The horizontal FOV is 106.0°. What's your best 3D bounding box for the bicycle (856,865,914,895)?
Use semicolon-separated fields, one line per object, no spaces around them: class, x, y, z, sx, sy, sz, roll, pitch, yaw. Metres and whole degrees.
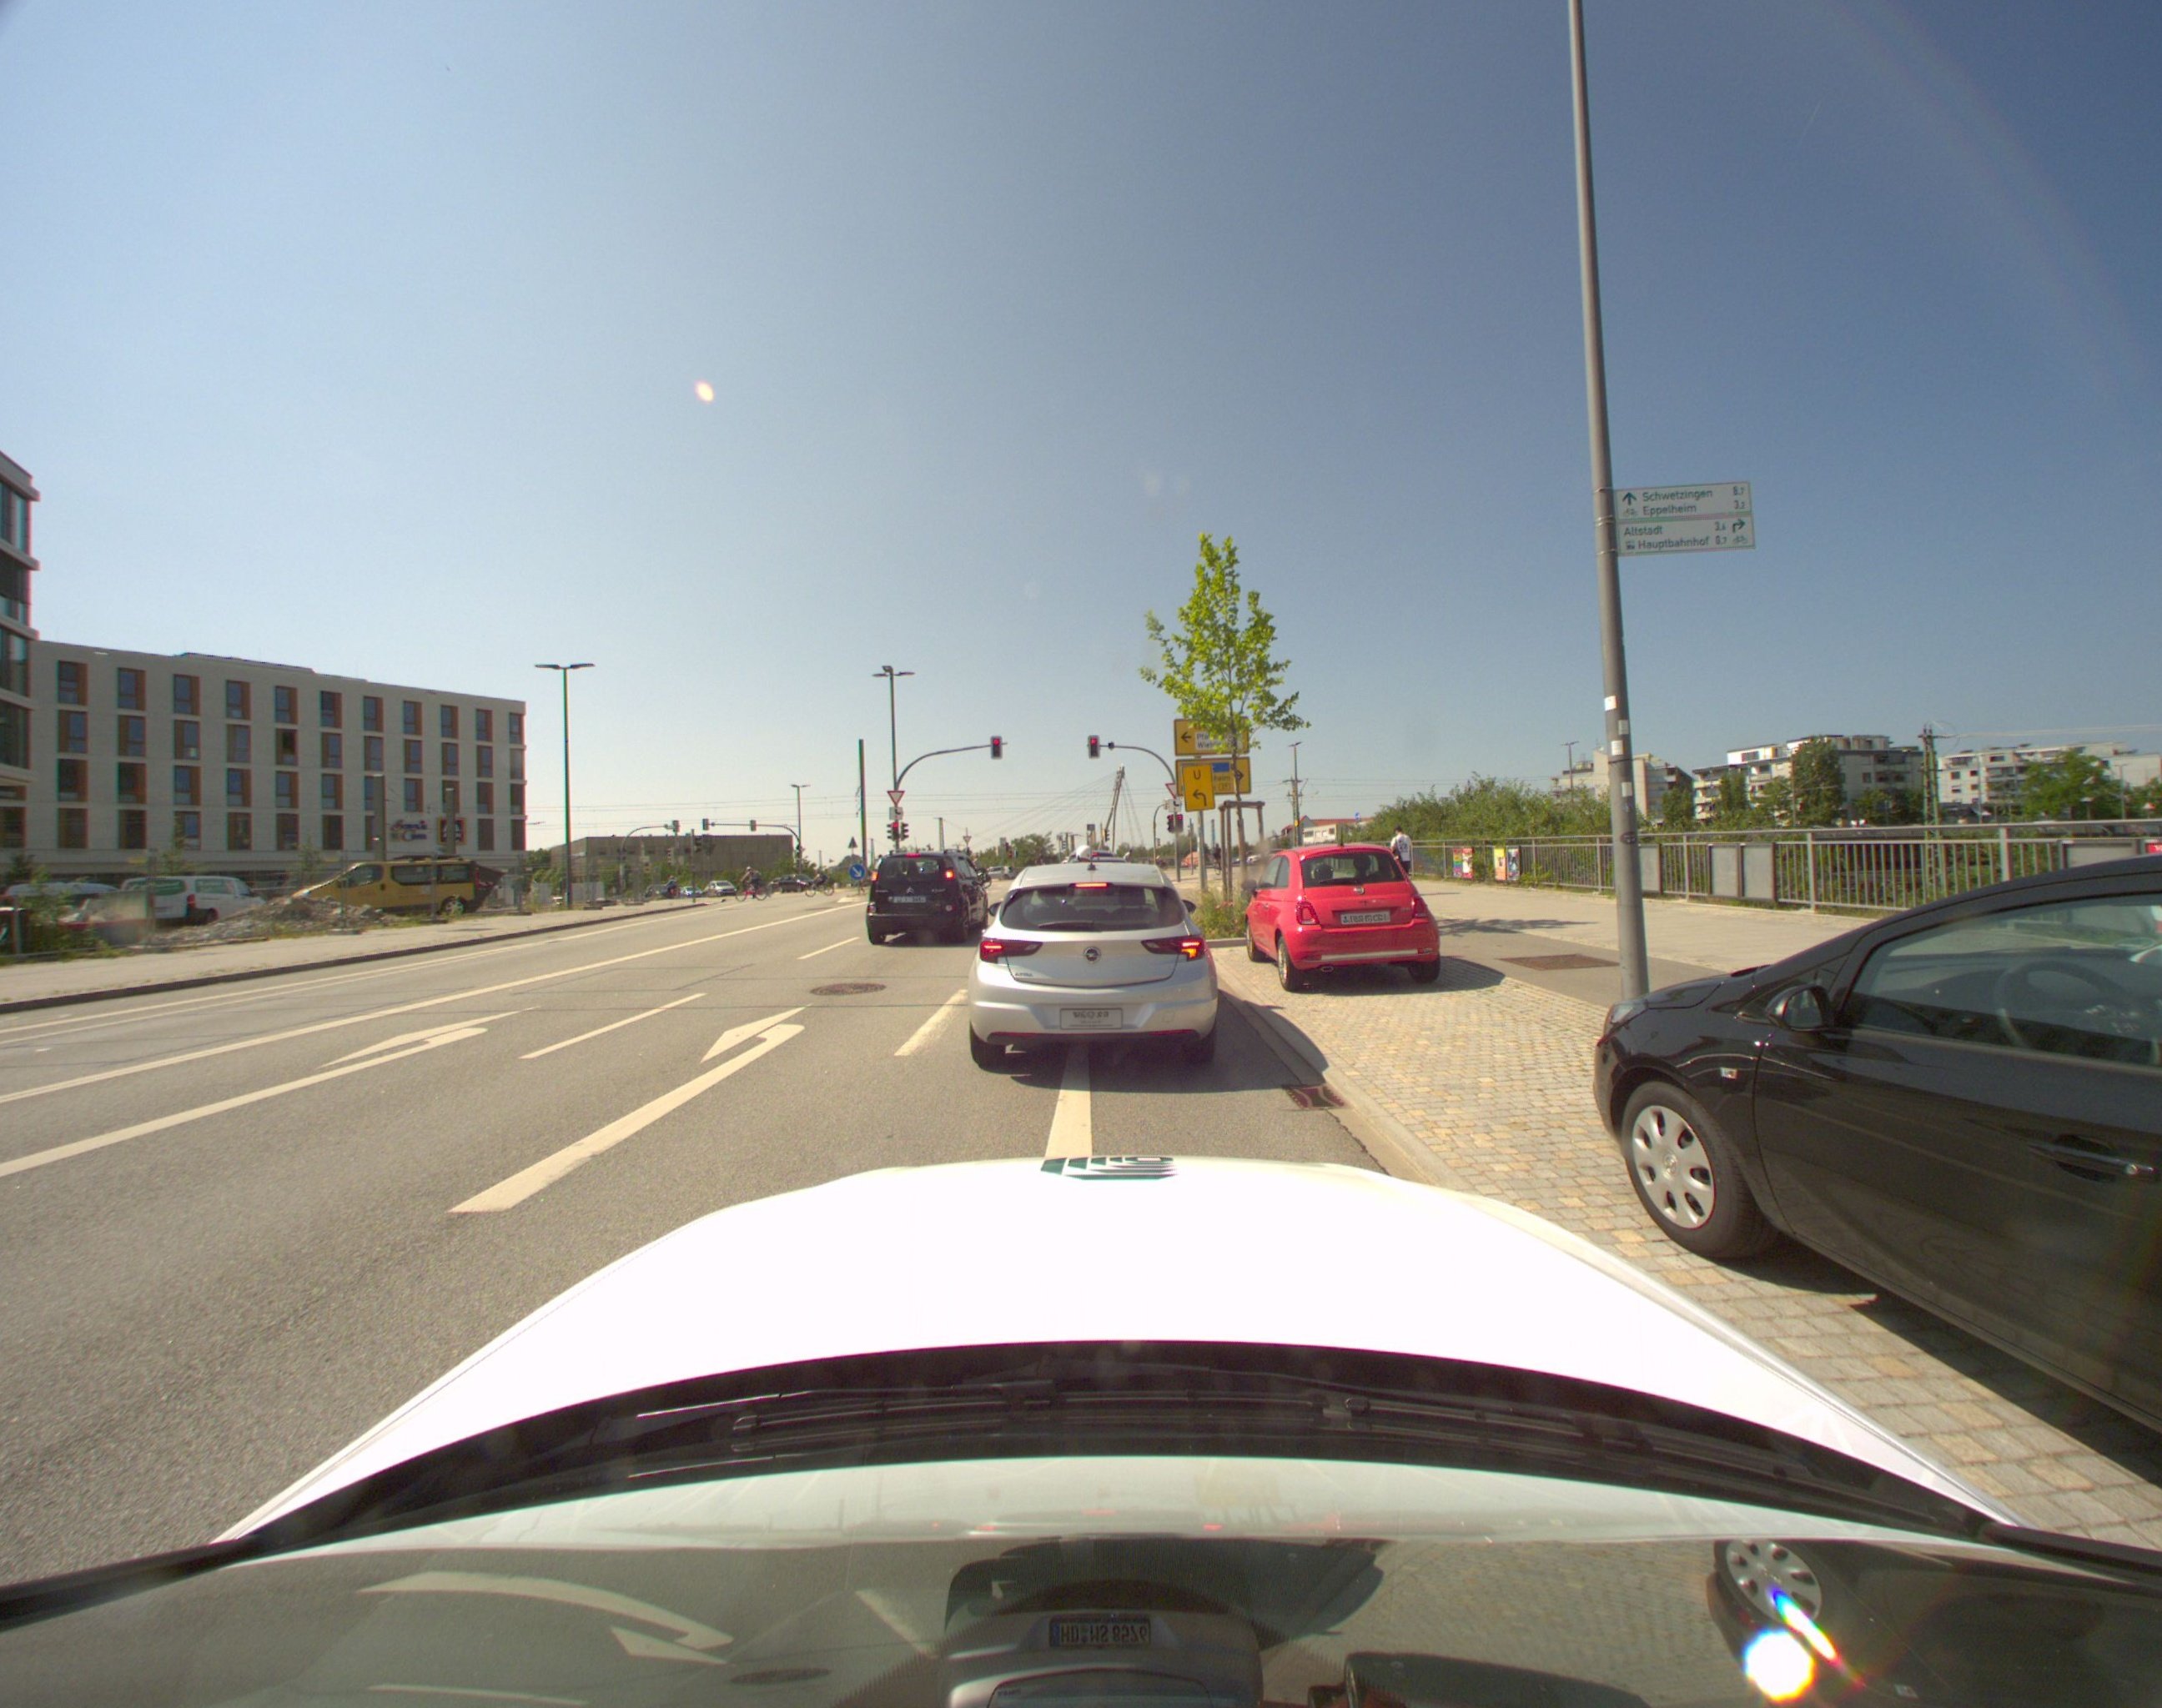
bicycle;-9.307;1.237;38.825;2.523;1.134;0.726;-6;2;-8

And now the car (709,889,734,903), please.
car;-33.116;3.850;74.930;2.453;1.240;1.287;-2;-1;44

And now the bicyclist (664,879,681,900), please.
bicyclist;-29.146;2.528;58.153;0.711;1.504;0.829;-1;-1;33

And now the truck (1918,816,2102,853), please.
truck;87.579;-1.760;76.749;17.857;3.204;3.723;0;-1;-14

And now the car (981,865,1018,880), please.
car;-7.663;1.759;76.872;3.193;1.304;1.527;-1;-1;8

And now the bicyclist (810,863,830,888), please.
bicyclist;-12.499;1.043;39.012;0.654;1.175;0.731;0;-1;3

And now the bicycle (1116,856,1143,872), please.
bicycle;3.402;0.714;57.184;1.862;1.068;0.577;0;-1;-3

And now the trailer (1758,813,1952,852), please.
trailer;68.008;-1.786;71.544;17.225;3.204;3.723;0;-1;-14

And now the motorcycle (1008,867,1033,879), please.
motorcycle;-6.368;2.024;85.436;2.528;1.233;0.648;0;-1;0

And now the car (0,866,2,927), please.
car;-36.259;1.391;24.998;2.220;2.056;4.133;0;-1;-28

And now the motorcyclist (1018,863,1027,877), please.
motorcyclist;-6.110;1.662;85.488;0.806;1.476;0.885;0;-1;1

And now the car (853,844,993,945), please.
car;-2.840;0.703;15.500;1.797;1.622;3.917;-1;-1;1

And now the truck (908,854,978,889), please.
truck;-10.031;1.291;59.438;4.670;2.540;2.003;0;-1;5

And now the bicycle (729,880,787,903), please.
bicycle;-15.284;1.768;38.535;2.494;1.007;0.605;-1;-1;2

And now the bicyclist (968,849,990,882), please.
bicyclist;-4.913;0.567;39.268;0.942;1.569;0.822;0;-1;-1

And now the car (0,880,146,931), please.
car;-33.742;1.674;27.252;1.809;1.508;3.965;0;-1;-27

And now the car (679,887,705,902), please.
car;-40.134;4.211;84.030;1.595;1.439;3.116;1;-1;-43

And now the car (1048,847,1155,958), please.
car;0.357;0.767;14.284;1.629;1.674;3.745;0;-1;1

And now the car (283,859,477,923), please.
car;-22.693;1.141;26.513;1.974;1.890;4.514;-1;-1;40

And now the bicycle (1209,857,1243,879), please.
bicycle;7.743;0.733;43.445;2.098;1.178;0.549;0;-1;-38

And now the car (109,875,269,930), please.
car;-31.057;1.615;28.587;2.003;1.707;4.526;0;-1;-23

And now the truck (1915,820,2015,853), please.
truck;89.460;-1.707;82.411;9.890;3.158;2.492;0;-1;-15

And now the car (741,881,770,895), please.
car;-39.371;4.094;98.453;3.347;1.655;1.658;-1;-1;36

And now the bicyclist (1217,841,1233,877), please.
bicyclist;7.675;0.259;43.403;0.598;1.887;0.629;1;-2;-38

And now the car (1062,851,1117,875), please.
car;0.694;0.691;62.855;4.011;1.815;1.935;-1;-1;7

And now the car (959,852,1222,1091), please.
car;0.109;0.775;7.416;1.685;1.520;4.271;-1;0;1

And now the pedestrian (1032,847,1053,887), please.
pedestrian;-1.839;0.604;38.722;0.744;1.863;0.746;1;-1;-29

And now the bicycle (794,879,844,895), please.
bicycle;-12.540;1.573;38.997;2.237;0.692;0.516;-1;-1;2

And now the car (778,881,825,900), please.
car;-22.679;2.943;66.063;3.738;1.390;1.676;-1;-1;32

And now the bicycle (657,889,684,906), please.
bicycle;-29.408;3.088;58.332;2.296;1.133;0.641;-1;-1;34

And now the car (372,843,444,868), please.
car;-54.378;0.147;65.892;3.990;2.014;1.991;0;-1;-12

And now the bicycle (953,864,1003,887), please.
bicycle;-4.959;1.036;39.260;2.351;1.127;0.677;0;-1;-2

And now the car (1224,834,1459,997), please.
car;2.950;0.570;10.104;1.663;1.539;3.918;-3;1;1

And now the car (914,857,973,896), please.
car;-5.210;0.838;31.197;1.581;1.395;3.340;-1;-1;1

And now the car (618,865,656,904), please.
car;-24.174;1.640;44.445;1.679;2.014;3.965;0;-1;-27

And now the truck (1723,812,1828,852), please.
truck;58.985;-1.791;69.262;6.478;3.204;3.721;0;-1;-14

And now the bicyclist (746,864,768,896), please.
bicyclist;-15.342;1.209;38.556;0.654;1.502;0.844;0;-1;3

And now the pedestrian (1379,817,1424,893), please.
pedestrian;7.864;0.033;20.023;0.755;1.830;0.885;0;-1;1

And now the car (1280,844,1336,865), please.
car;18.176;0.029;65.154;3.982;1.551;1.667;-2;-1;-16

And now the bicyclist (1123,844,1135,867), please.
bicyclist;3.385;0.119;57.220;0.770;1.610;0.948;0;-1;-4

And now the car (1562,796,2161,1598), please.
car;2.874;0.641;1.727;1.576;1.555;3.548;-4;0;1

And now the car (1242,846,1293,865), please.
car;17.593;0.142;76.942;4.254;1.673;1.989;-1;-1;-16

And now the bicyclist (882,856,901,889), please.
bicyclist;-9.045;0.879;38.841;0.822;1.560;0.860;0;-1;-9
